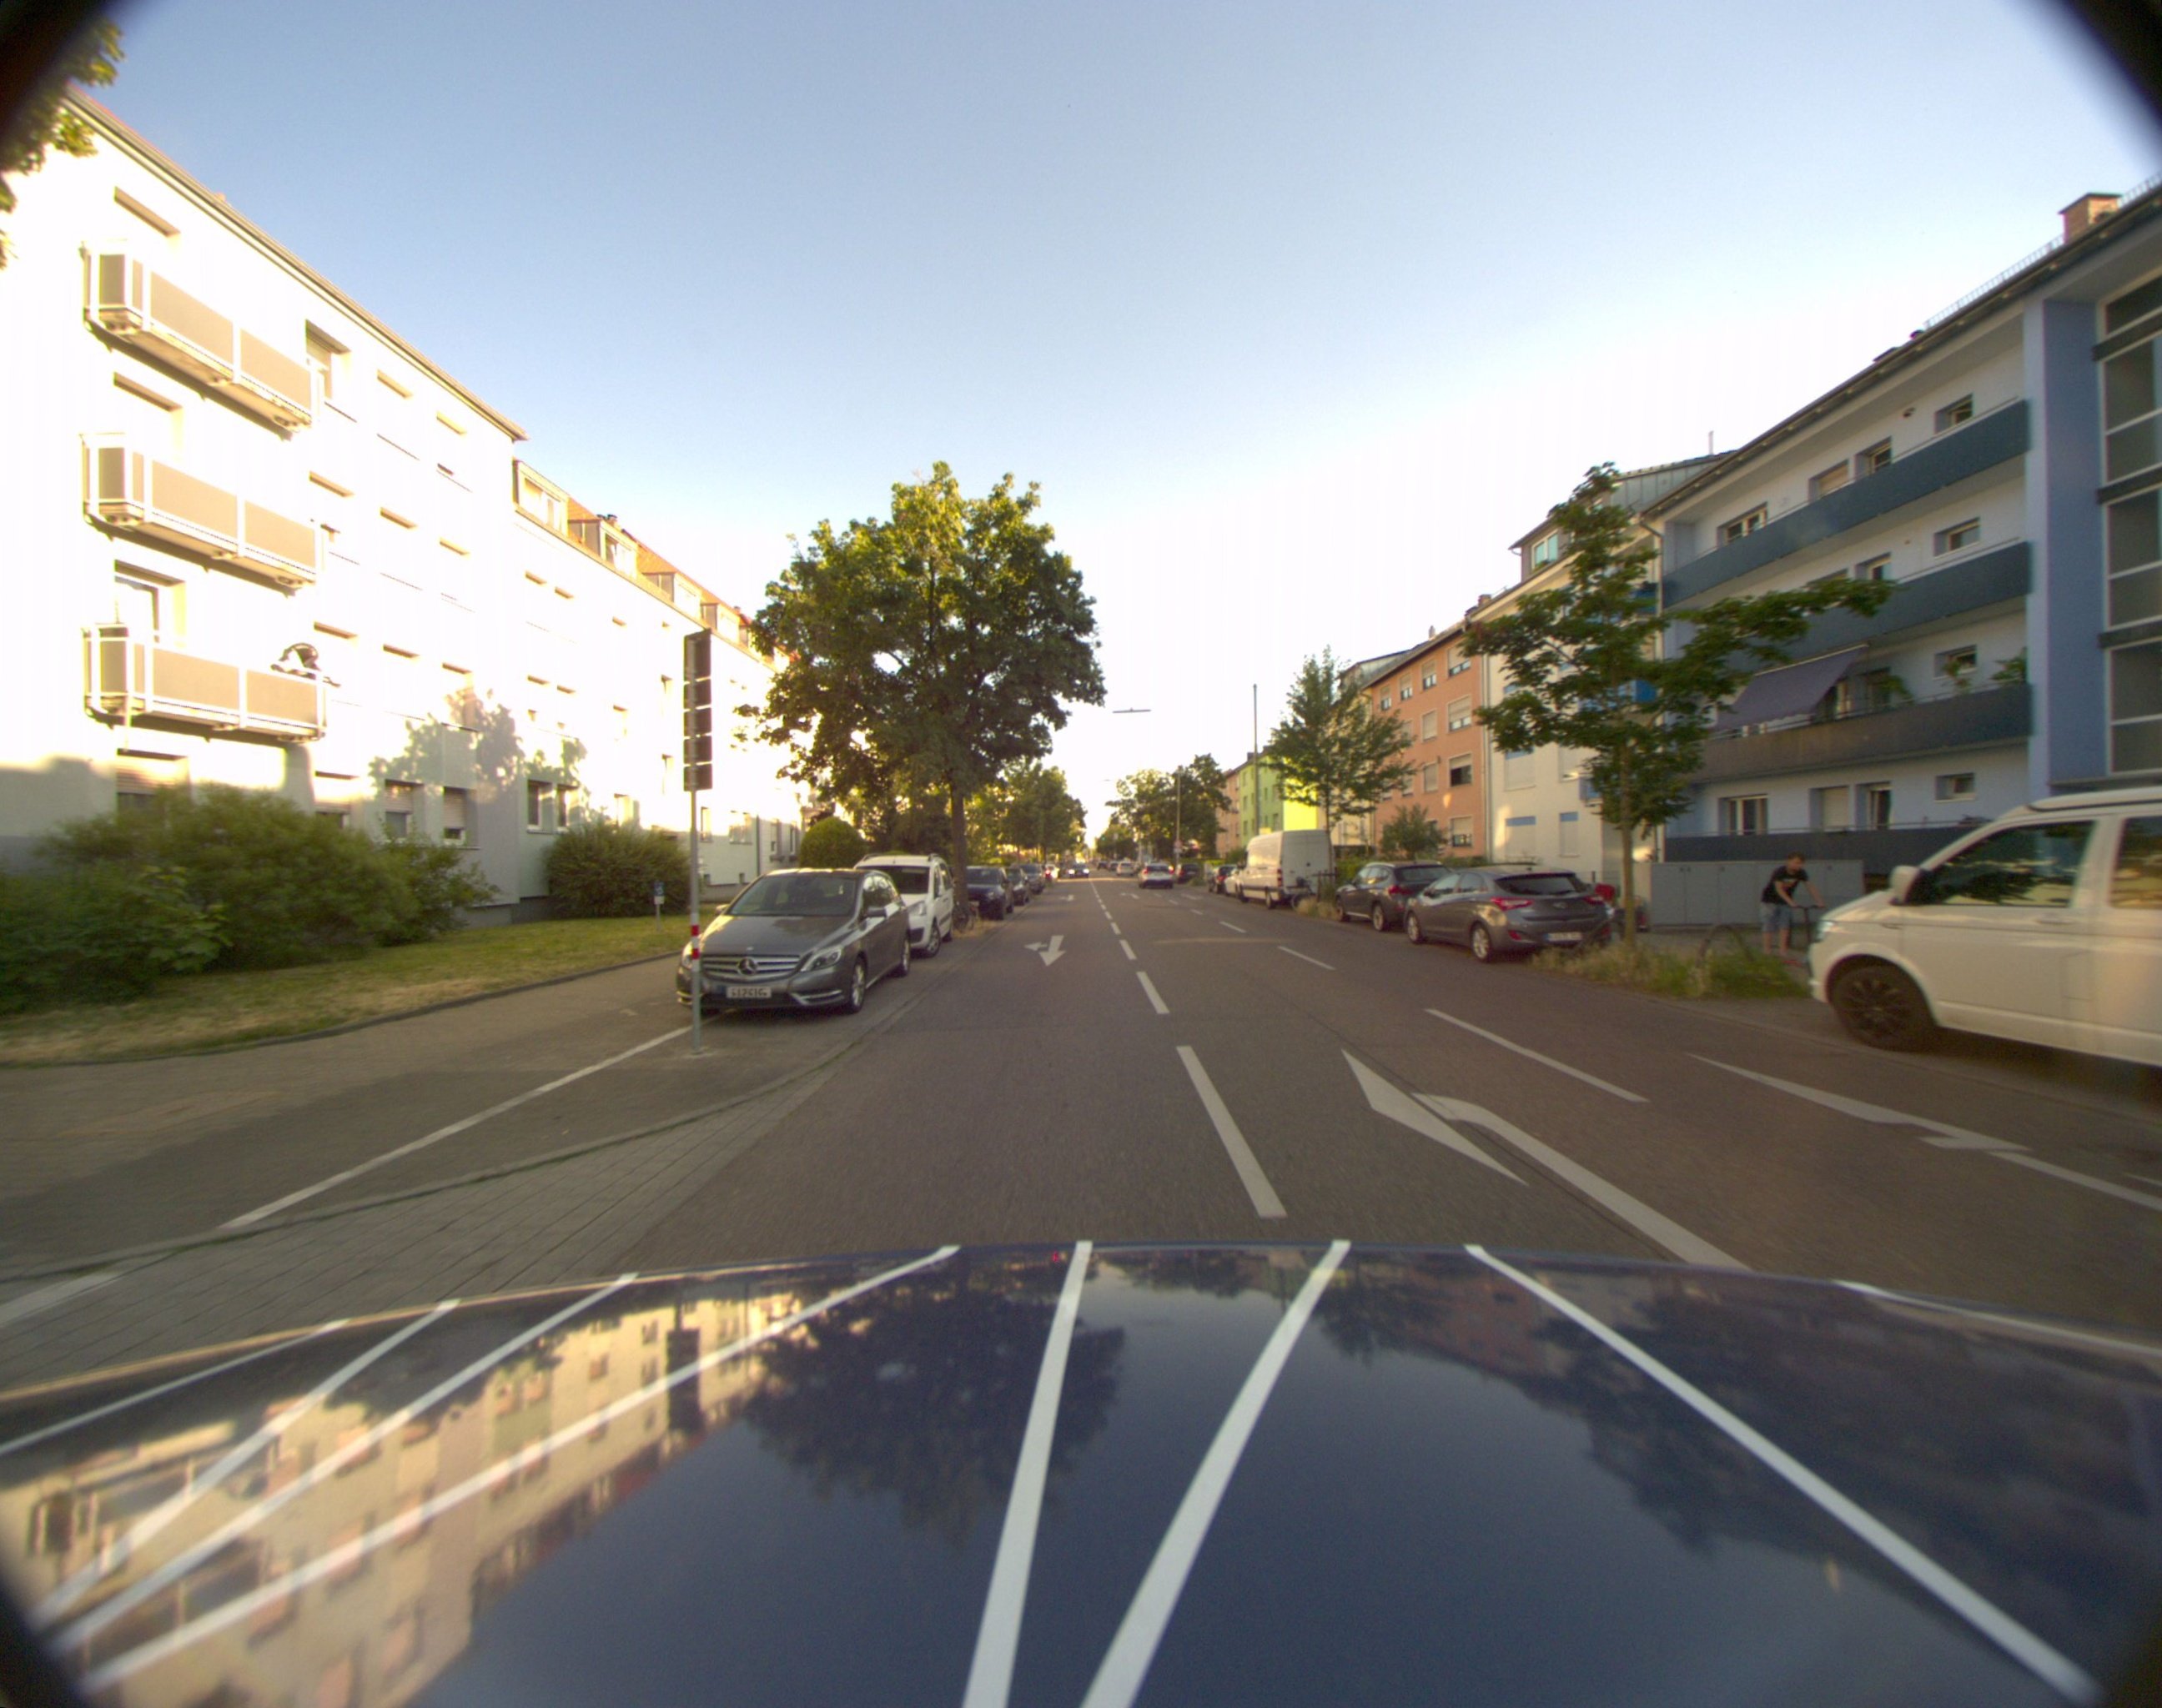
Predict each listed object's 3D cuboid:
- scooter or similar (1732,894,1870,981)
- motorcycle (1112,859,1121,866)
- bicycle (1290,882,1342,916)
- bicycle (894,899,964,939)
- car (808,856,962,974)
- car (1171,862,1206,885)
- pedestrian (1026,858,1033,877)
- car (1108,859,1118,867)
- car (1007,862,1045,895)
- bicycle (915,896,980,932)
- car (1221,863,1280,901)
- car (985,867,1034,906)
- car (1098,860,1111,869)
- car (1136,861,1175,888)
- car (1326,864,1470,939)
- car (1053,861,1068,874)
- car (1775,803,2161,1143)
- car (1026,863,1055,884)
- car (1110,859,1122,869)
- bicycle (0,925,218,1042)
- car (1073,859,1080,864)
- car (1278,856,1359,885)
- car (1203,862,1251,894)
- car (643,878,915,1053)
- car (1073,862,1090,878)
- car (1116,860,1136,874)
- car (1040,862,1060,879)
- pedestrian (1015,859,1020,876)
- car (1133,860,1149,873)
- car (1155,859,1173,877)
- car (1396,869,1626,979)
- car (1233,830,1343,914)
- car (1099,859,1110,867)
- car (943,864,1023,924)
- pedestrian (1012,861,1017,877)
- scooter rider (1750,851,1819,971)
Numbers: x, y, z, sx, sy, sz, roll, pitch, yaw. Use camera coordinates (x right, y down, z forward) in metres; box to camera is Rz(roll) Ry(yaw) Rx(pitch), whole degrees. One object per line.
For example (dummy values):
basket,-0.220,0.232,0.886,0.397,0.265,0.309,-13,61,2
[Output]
scooter or similar,9.722,1.091,10.342,0.465,1.008,1.590,0,0,4
motorcycle,8.029,2.012,170.885,1.263,1.526,2.888,-1,0,-14
bicycle,7.329,1.395,23.714,1.475,1.008,0.440,-2,0,8
bicycle,-3.482,1.489,17.475,1.557,0.864,0.393,-1,0,-9
car,-3.462,0.993,14.305,1.805,1.797,4.423,-3,0,-2
car,7.528,1.333,53.393,1.783,1.496,4.588,-1,0,0
pedestrian,-5.332,1.383,78.120,0.549,1.838,0.765,-1,0,7
car,6.832,1.907,161.273,1.820,1.438,4.110,1,0,-1
car,-2.878,1.255,40.335,1.722,1.591,4.096,-1,0,0
bicycle,-3.333,1.498,19.070,1.556,0.864,0.393,-1,0,-3
car,7.500,1.190,33.982,1.711,1.483,4.059,-4,0,0
car,-2.834,1.263,30.754,1.617,1.457,3.959,0,0,0
car,4.019,1.787,130.287,1.837,1.462,4.451,-5,0,-2
car,4.391,1.193,45.212,1.786,1.486,3.970,0,0,-2
car,7.367,1.023,18.169,1.676,1.534,4.474,-1,0,2
car,-2.637,1.730,99.209,1.797,1.622,4.029,-1,0,-1
car,7.335,0.678,4.313,1.873,2.019,5.301,-2,0,0
car,-3.065,1.473,58.493,1.879,1.572,4.821,0,0,2
car,5.237,1.493,113.577,1.703,1.462,4.296,0,0,5
bicycle,-10.143,1.278,7.883,0.476,0.939,1.680,0,0,0
car,-1.399,2.143,225.405,1.744,1.508,3.811,-1,0,2
car,13.482,0.930,43.291,3.997,1.404,1.916,-3,0,0
car,7.399,1.203,38.740,1.616,1.464,3.813,-3,0,0
car,-3.305,1.120,9.296,1.759,1.547,4.251,0,0,-2
car,0.054,1.538,74.905,1.641,1.481,4.415,0,0,0
car,5.019,1.453,84.537,1.884,1.533,4.267,0,-1,-1
car,-2.853,1.521,70.709,1.641,1.481,4.415,0,0,0
pedestrian,-6.518,1.375,77.978,0.512,1.687,0.527,-1,0,-4
car,7.805,1.604,98.878,1.641,1.543,3.785,-1,0,-3
car,7.682,1.301,70.498,1.503,1.607,2.862,-1,0,3
car,6.988,1.043,12.909,1.696,1.475,4.144,-1,0,2
car,7.276,0.596,27.680,1.998,2.601,7.105,-2,0,0
car,4.006,1.498,129.996,1.704,1.395,4.028,1,0,0
car,-2.879,1.139,23.237,1.758,1.653,4.253,0,0,2
pedestrian,-6.911,1.531,78.974,0.512,1.687,0.527,-1,0,-4
scooter rider,9.712,0.771,10.499,0.465,1.621,0.534,0,0,4
